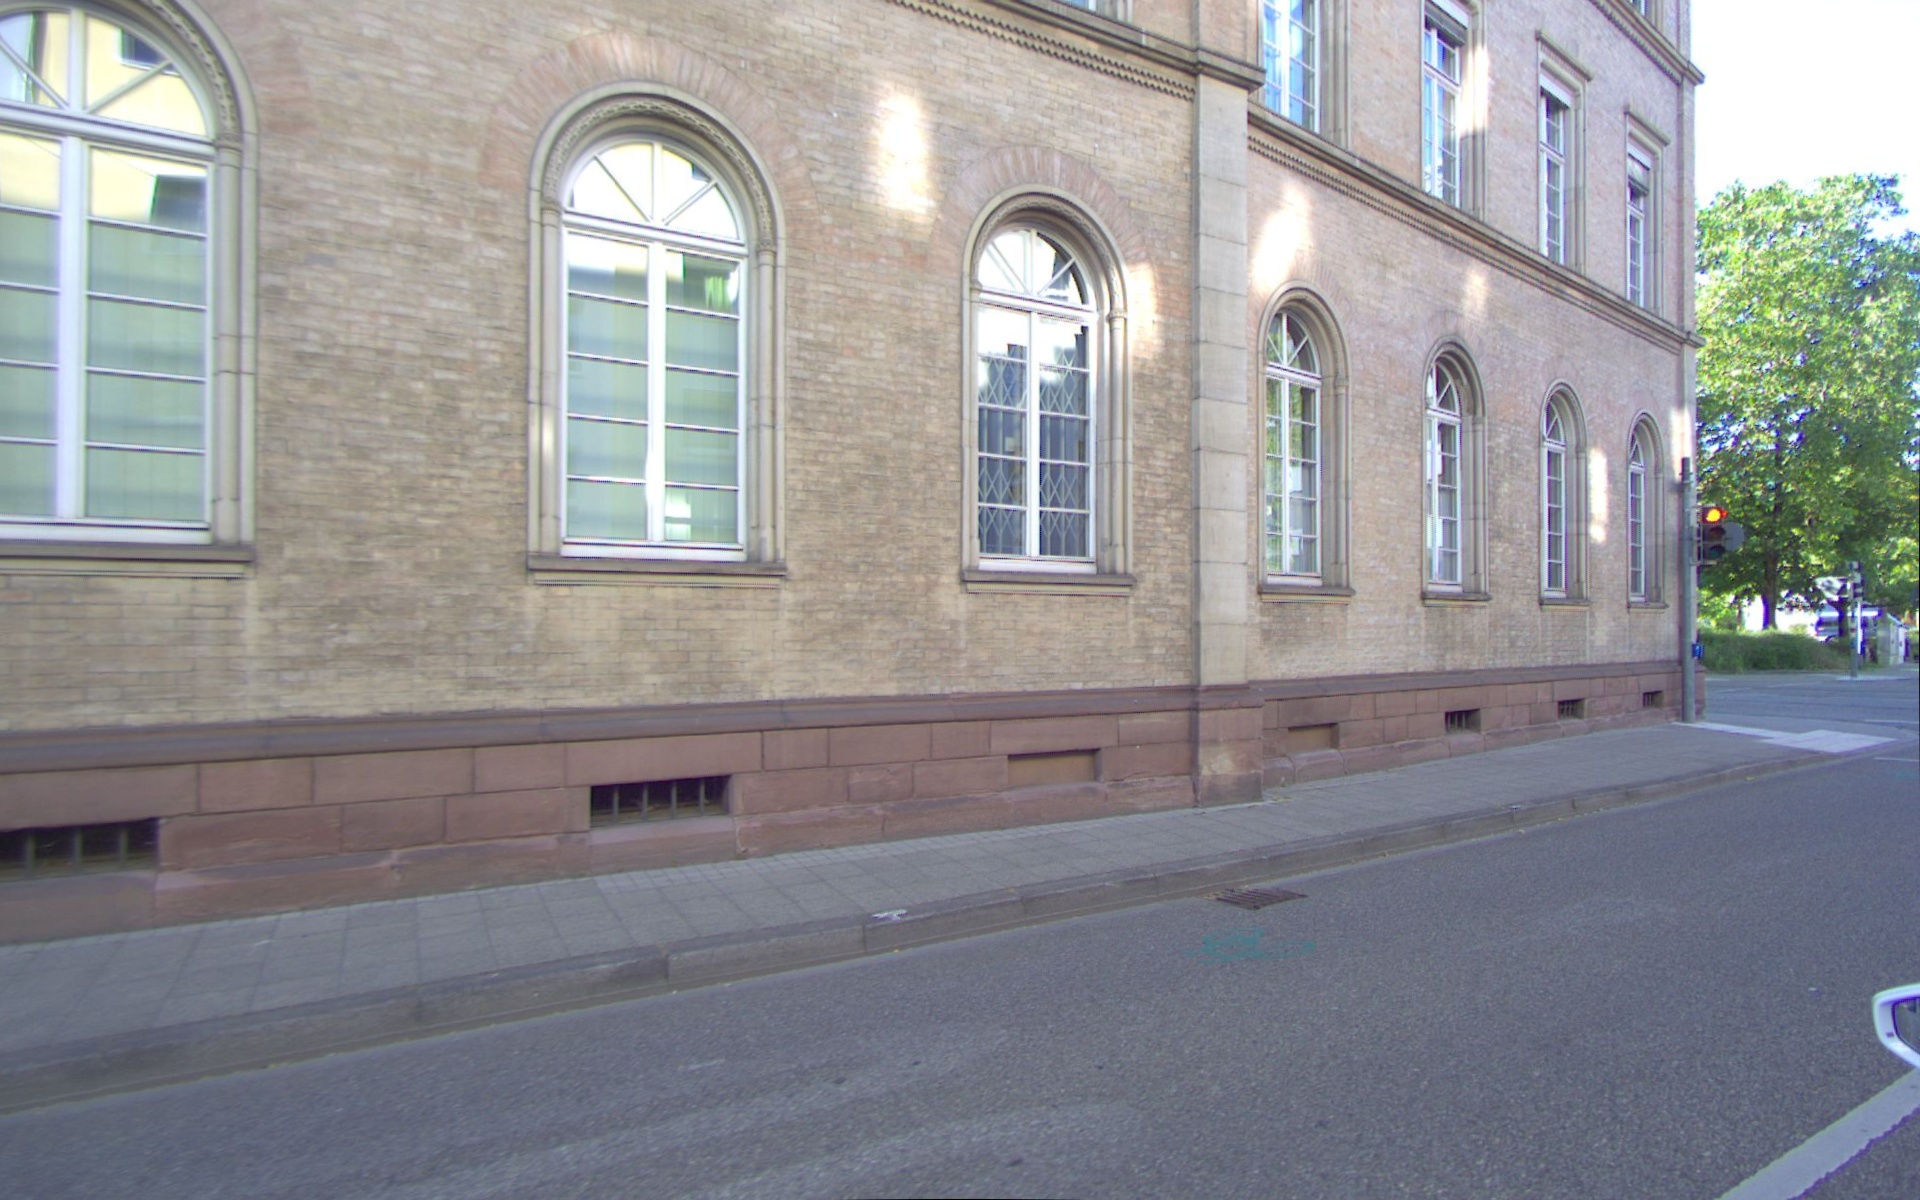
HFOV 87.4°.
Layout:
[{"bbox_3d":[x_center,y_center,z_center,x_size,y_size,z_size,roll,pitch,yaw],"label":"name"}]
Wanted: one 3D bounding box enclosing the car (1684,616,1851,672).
[{"bbox_3d":[27.828,1.479,34.716,1.888,1.801,4.192,1,-1,-38],"label":"car"}]
